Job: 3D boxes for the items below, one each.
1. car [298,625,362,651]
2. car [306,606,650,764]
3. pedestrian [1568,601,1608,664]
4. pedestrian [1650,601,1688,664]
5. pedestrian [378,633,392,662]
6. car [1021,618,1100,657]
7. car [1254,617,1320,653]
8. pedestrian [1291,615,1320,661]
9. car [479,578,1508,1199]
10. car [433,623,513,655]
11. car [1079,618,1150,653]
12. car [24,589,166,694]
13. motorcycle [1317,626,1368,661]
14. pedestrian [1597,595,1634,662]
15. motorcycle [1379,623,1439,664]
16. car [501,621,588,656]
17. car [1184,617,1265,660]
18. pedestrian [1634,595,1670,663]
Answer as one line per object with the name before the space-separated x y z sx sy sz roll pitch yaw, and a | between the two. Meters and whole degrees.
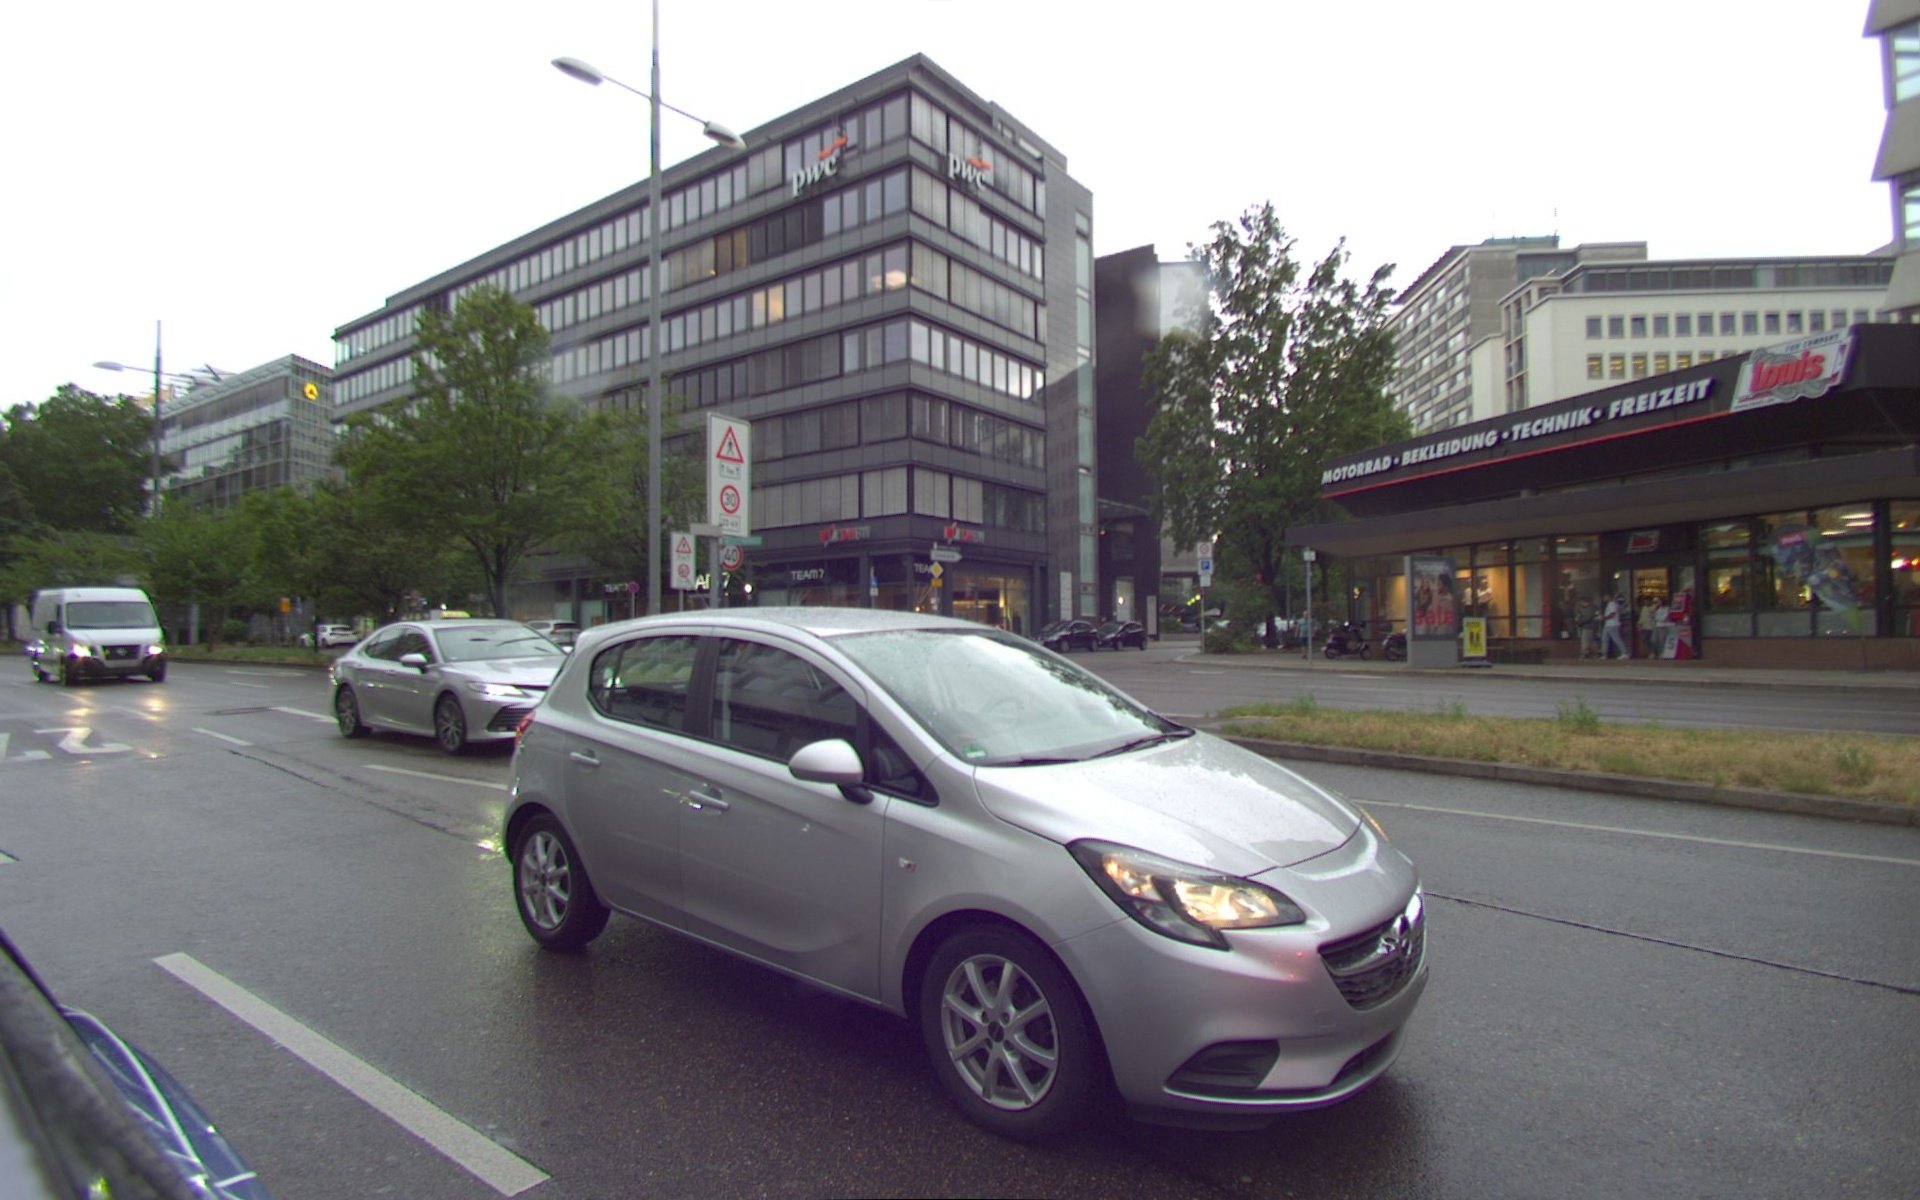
car | -37.942 2.287 60.915 3.992 1.518 1.975 -2 -1 36
car | -5.946 0.899 12.209 4.771 1.545 1.847 -2 -1 38
pedestrian | 16.343 0.834 26.345 0.605 1.623 0.614 0 -1 -29
pedestrian | 18.087 0.833 25.822 0.532 1.582 0.560 0 -1 -29
pedestrian | -39.979 3.301 70.346 0.500 2.029 0.681 -2 -1 38
car | 4.541 1.661 45.474 1.847 1.596 3.716 -2 -1 37
car | 15.566 1.629 48.042 1.847 1.596 3.716 -2 -1 37
pedestrian | 12.732 1.406 37.268 0.689 1.661 0.735 0 -1 -39
car | -0.187 0.717 3.995 3.872 1.446 1.631 -2 -1 40
car | -24.597 1.967 51.104 4.100 1.518 1.975 -2 -1 36
car | 7.576 1.717 49.470 1.847 1.596 3.716 -2 -1 37
car | -22.407 1.026 26.129 5.475 2.459 1.927 -2 -1 40
motorcycle | 12.966 1.458 34.282 1.600 1.153 0.360 -1 -1 -8
pedestrian | 17.369 0.754 26.802 0.605 1.757 0.560 0 -1 -29
motorcycle | 13.835 1.346 31.229 1.646 1.242 0.360 -1 -1 2
car | -19.408 1.785 47.253 3.992 1.518 1.975 -2 -1 36
car | 10.669 1.507 40.641 1.847 1.596 3.716 -2 -1 37
pedestrian | 18.170 0.744 26.579 0.532 1.757 0.560 0 -1 -29
